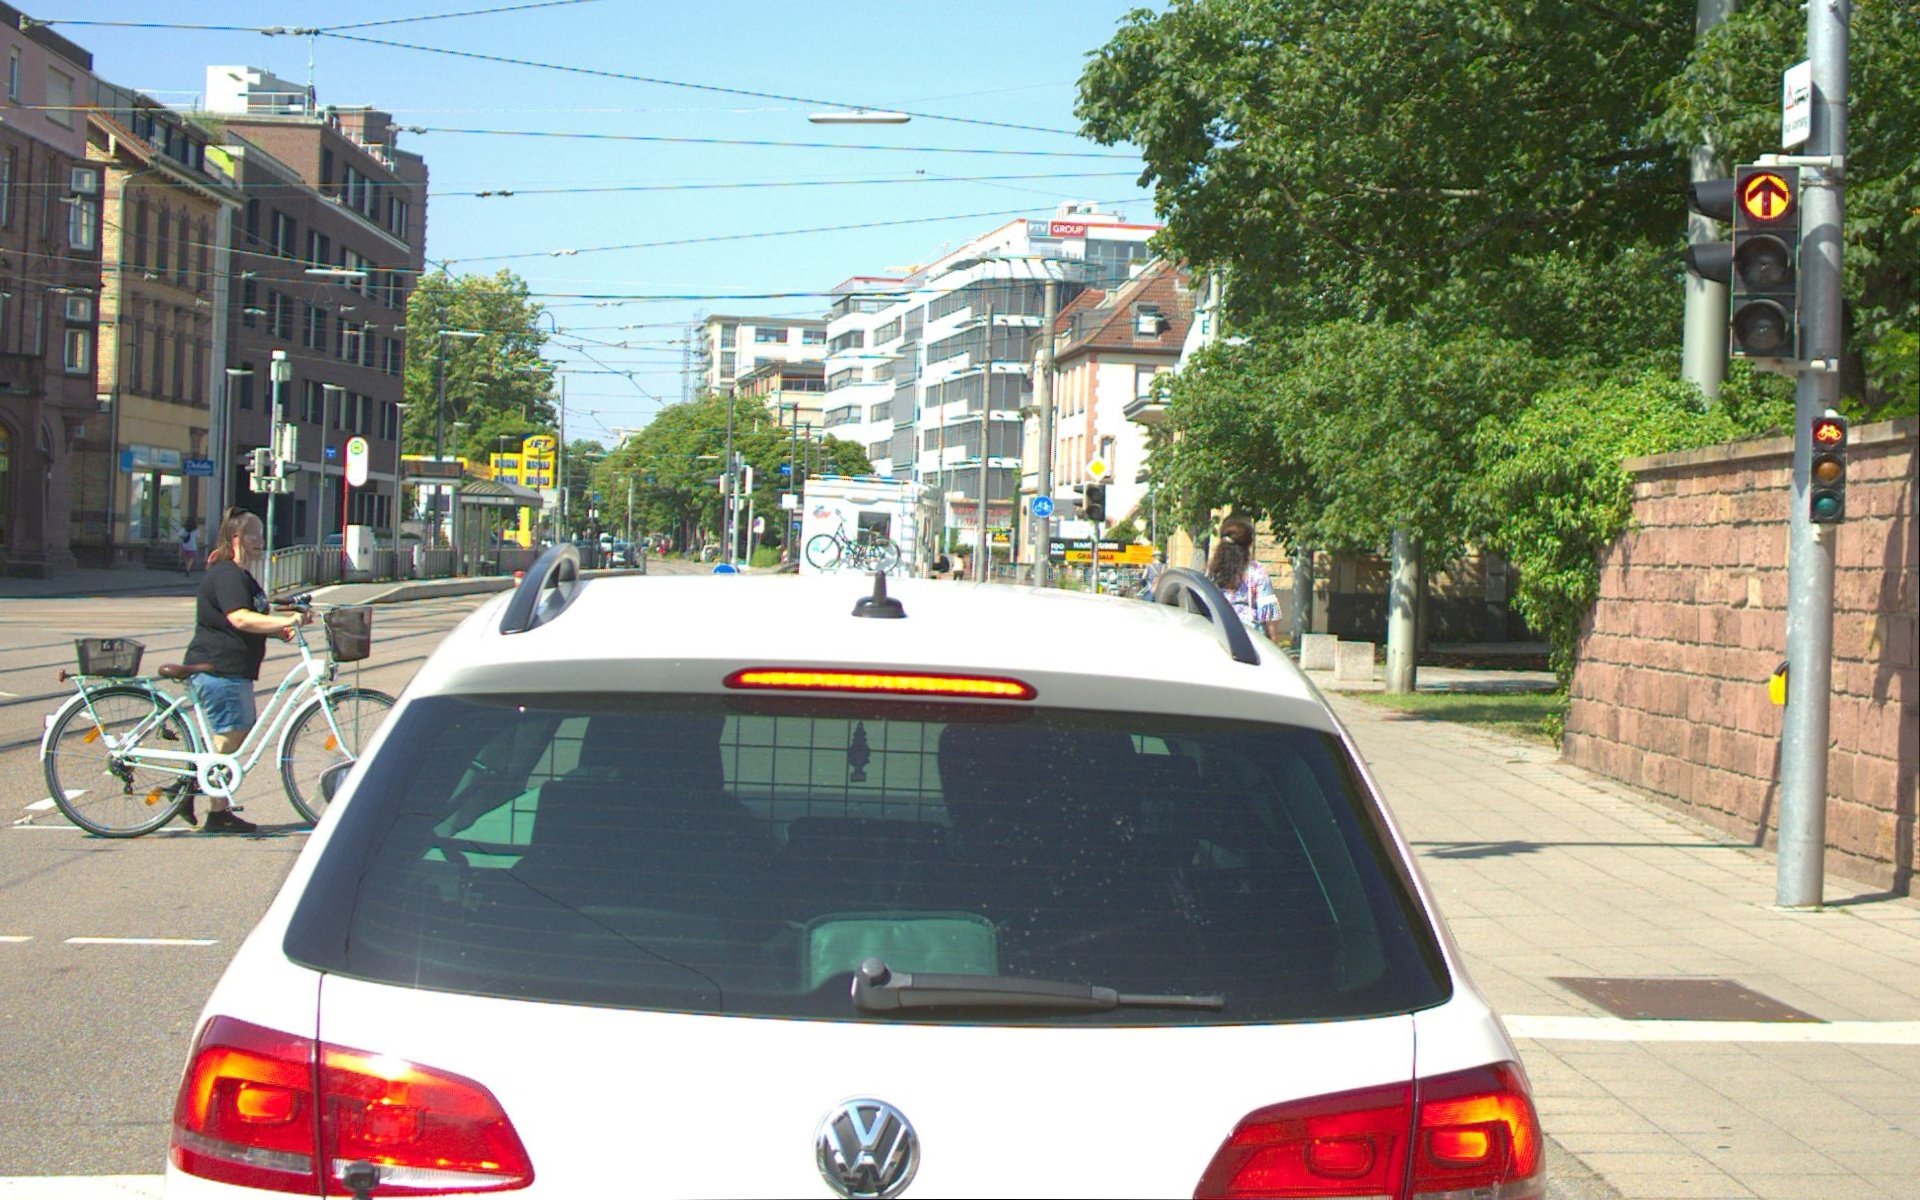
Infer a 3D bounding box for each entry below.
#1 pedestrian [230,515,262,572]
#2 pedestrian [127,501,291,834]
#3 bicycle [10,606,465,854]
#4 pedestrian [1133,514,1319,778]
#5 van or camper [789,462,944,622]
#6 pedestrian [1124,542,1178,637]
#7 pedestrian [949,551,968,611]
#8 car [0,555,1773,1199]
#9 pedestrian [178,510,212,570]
[{"bbox_3d":[-22.294,-1.762,107.394,0.861,1.737,0.975,0,0,-6],"label":"pedestrian"},{"bbox_3d":[-3.631,0.310,16.599,0.745,1.566,0.675,0,2,-14],"label":"pedestrian"},{"bbox_3d":[-3.396,0.606,16.148,2.019,1.086,0.710,2,1,-15],"label":"bicycle"},{"bbox_3d":[1.716,0.287,22.051,0.954,1.645,0.974,0,0,21],"label":"pedestrian"},{"bbox_3d":[-1.834,-1.129,69.447,2.567,3.082,5.702,0,0,4],"label":"van or camper"},{"bbox_3d":[3.513,-0.194,63.168,0.862,1.737,0.974,0,0,11],"label":"pedestrian"},{"bbox_3d":[-0.065,-0.719,132.519,0.690,2.317,1.232,0,0,1],"label":"pedestrian"},{"bbox_3d":[-0.138,0.684,5.448,1.808,1.443,4.000,2,1,-1],"label":"car"},{"bbox_3d":[-22.566,-1.763,101.471,0.861,1.737,0.975,0,0,-6],"label":"pedestrian"}]
